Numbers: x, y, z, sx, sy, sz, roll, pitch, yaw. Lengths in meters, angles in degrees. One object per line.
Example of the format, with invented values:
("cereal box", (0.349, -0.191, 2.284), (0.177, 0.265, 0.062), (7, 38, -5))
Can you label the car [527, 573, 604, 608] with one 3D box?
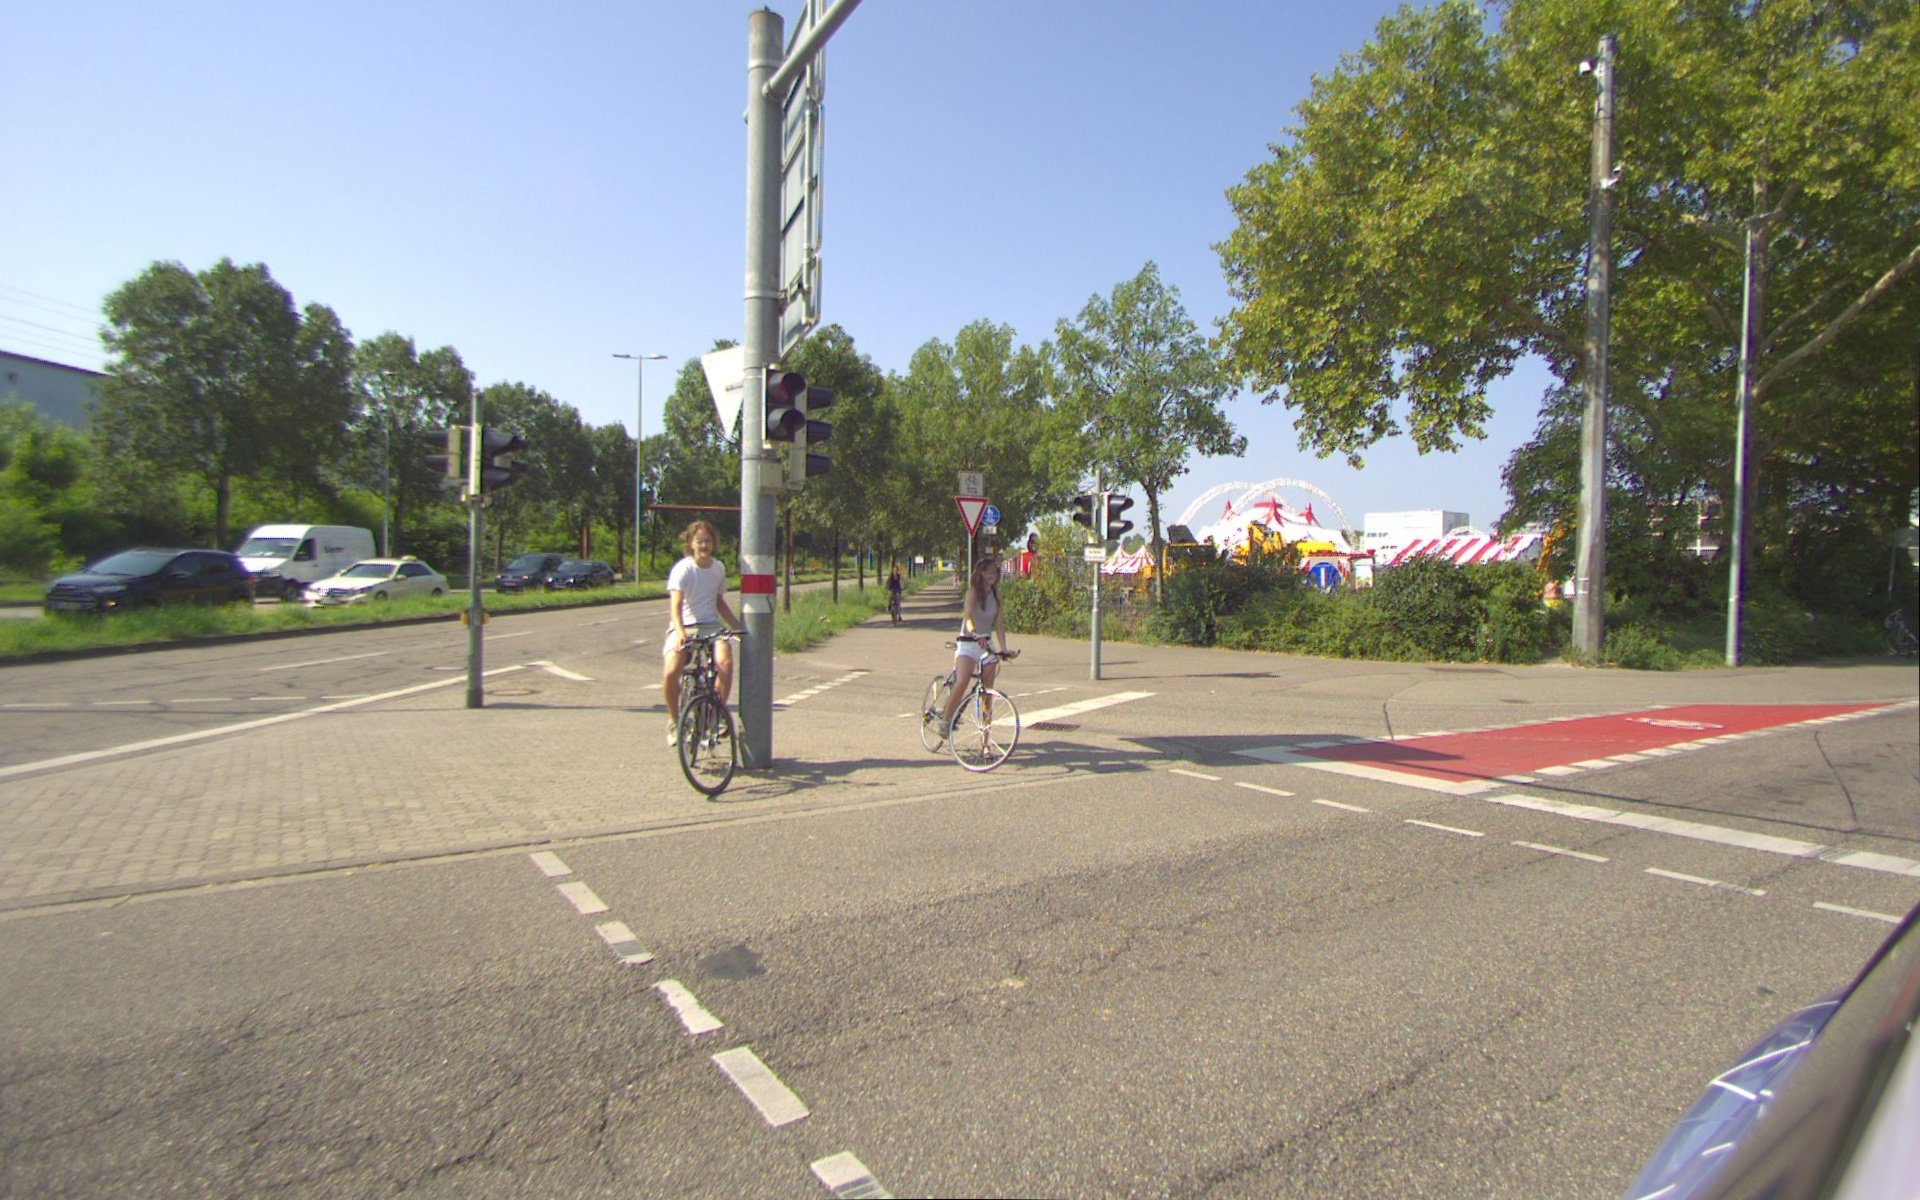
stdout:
("car", (-16.321, -0.379, 42.036), (1.626, 1.416, 3.752), (0, 0, 2))

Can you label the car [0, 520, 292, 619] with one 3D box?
("car", (-16.683, -0.545, 20.987), (2.106, 1.762, 5.220), (-1, 0, 2))

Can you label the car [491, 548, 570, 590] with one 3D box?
("car", (-18.747, -1.326, 44.312), (1.627, 1.685, 3.749), (-1, 0, 5))

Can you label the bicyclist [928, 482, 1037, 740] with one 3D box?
("bicyclist", (0.161, 0.082, 8.639), (0.585, 2.039, 1.207), (0, 0, -16))

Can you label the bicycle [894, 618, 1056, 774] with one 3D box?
("bicycle", (0.055, 0.744, 8.793), (0.756, 1.101, 2.268), (0, 1, -16))

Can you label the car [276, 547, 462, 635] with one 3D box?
("car", (-16.847, -0.224, 29.259), (2.208, 2.290, 5.220), (-1, 0, 2))

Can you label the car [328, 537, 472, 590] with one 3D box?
("car", (-19.257, -1.206, 35.124), (2.127, 1.630, 4.971), (-1, 0, 2))

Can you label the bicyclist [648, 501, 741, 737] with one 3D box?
("bicyclist", (-1.959, 0.130, 7.576), (0.585, 1.614, 1.207), (0, -1, -11))

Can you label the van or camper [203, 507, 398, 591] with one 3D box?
("van or camper", (-22.198, -1.597, 34.571), (2.207, 2.514, 6.864), (-1, 0, 0))

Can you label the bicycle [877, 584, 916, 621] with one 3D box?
("bicycle", (-1.842, 0.066, 29.701), (0.566, 1.069, 1.483), (-1, 0, 21))

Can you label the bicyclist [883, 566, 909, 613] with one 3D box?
("bicyclist", (-1.875, -0.302, 29.635), (0.497, 1.382, 0.691), (-1, -1, 23))

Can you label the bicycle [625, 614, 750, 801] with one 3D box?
("bicycle", (-2.000, 0.713, 7.688), (0.757, 1.101, 2.225), (1, 2, -11))
